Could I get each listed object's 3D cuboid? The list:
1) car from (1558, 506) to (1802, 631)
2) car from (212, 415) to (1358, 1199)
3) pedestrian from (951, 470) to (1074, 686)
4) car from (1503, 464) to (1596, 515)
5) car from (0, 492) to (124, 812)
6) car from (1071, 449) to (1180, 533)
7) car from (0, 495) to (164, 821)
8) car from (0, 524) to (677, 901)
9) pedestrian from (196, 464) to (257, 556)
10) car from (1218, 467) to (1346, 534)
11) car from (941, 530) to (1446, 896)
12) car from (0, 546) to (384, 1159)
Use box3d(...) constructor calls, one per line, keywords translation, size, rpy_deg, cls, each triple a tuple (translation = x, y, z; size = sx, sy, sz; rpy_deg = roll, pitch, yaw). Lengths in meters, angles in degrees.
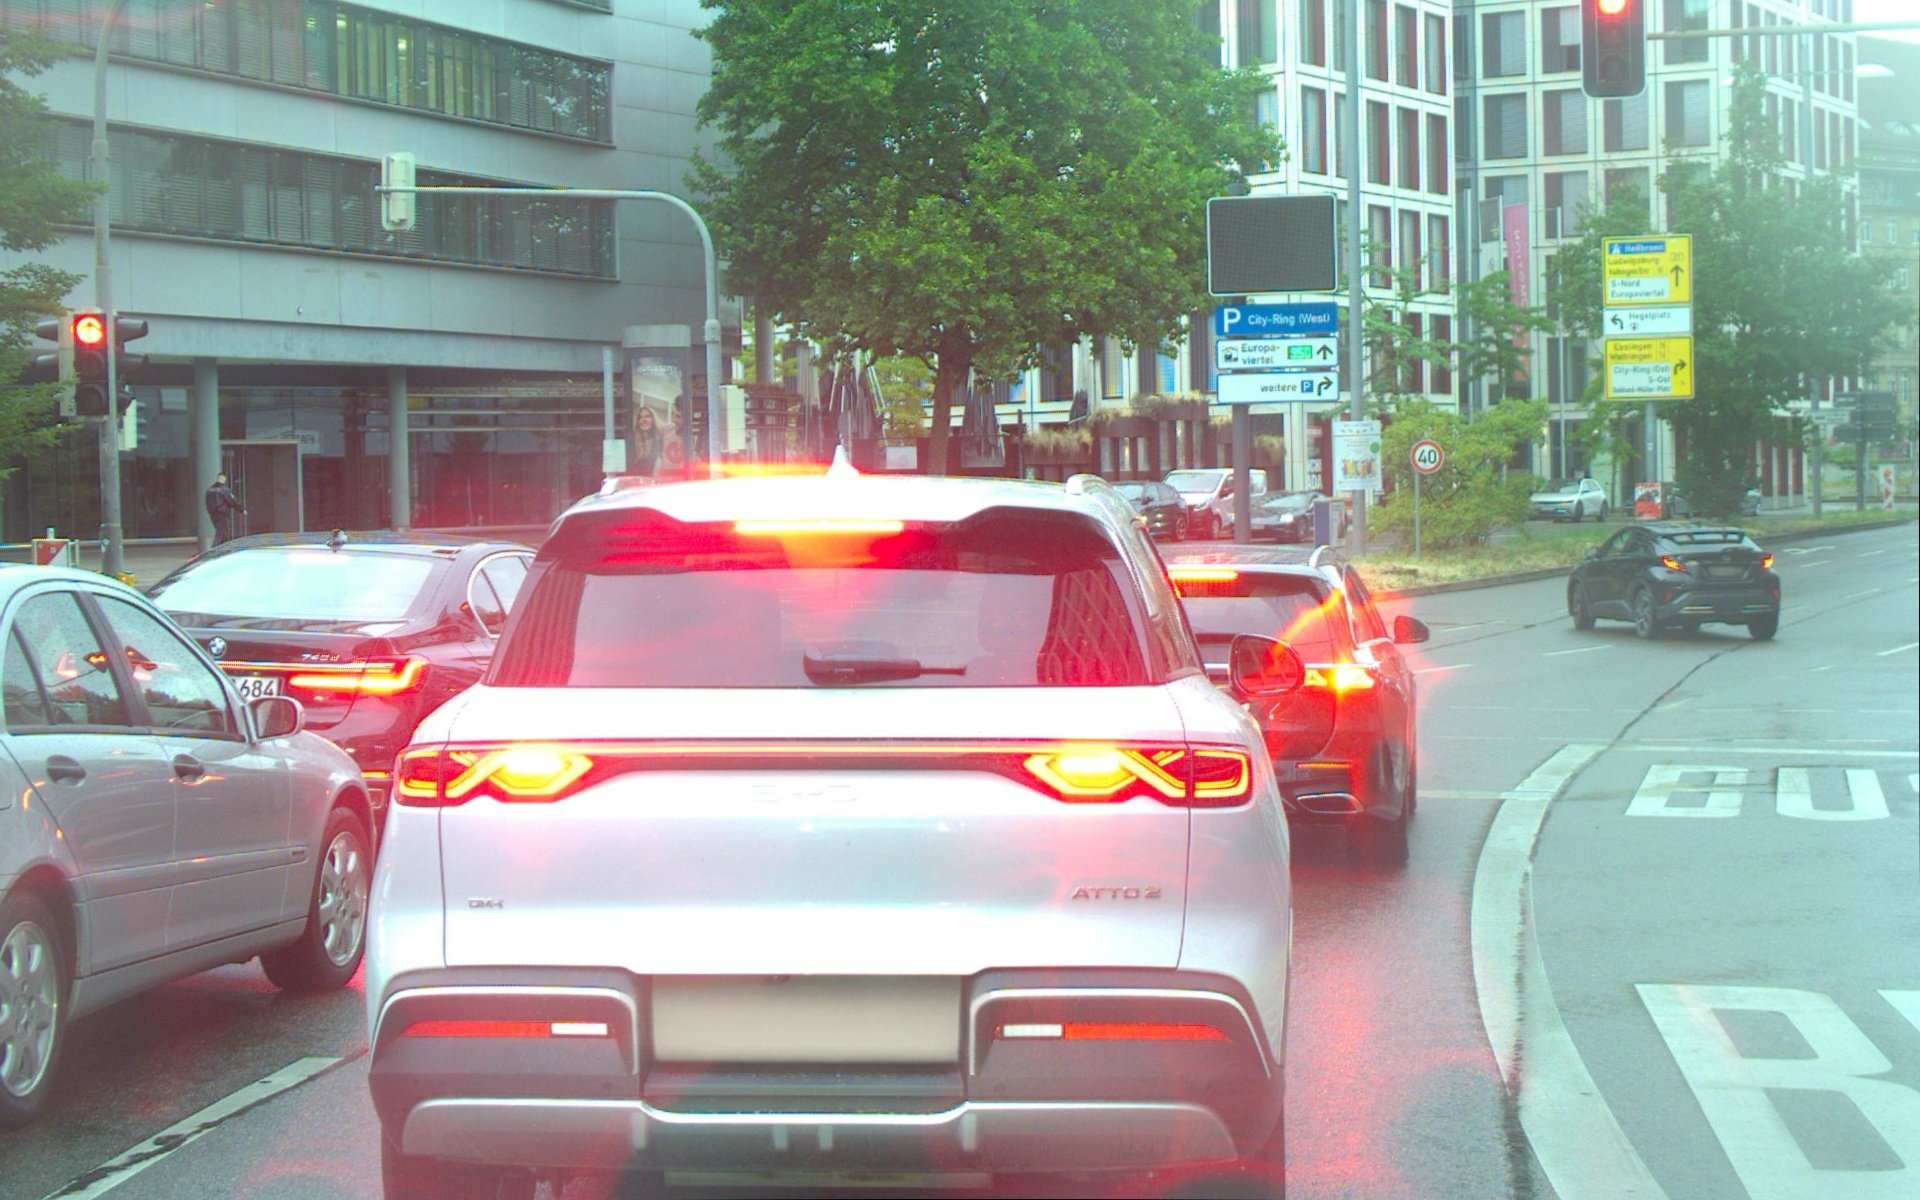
box3d(translation=(9.554, -0.452, 45.942), size=(1.993, 1.546, 4.001), rpy_deg=(1, 2, -7), cls="car")
box3d(translation=(-0.217, 0.481, 8.249), size=(1.994, 1.703, 4.482), rpy_deg=(1, 2, 3), cls="car")
box3d(translation=(0.424, -0.186, 28.003), size=(0.921, 1.732, 0.730), rpy_deg=(0, 1, -5), cls="pedestrian")
box3d(translation=(20.629, -3.880, 120.165), size=(1.996, 1.700, 4.303), rpy_deg=(1, 3, 27), cls="car")
box3d(translation=(-5.778, 0.280, 16.226), size=(1.784, 1.568, 4.285), rpy_deg=(0, 1, 14), cls="car")
box3d(translation=(4.406, -2.858, 91.152), size=(1.739, 2.154, 4.490), rpy_deg=(1, 1, 18), cls="car")
box3d(translation=(-5.637, 0.281, 16.820), size=(1.886, 1.590, 3.998), rpy_deg=(0, 1, 12), cls="car")
box3d(translation=(-2.817, 0.411, 16.171), size=(1.956, 1.525, 3.998), rpy_deg=(0, 1, 11), cls="car")
box3d(translation=(-13.894, -1.696, 65.138), size=(0.728, 1.721, 0.924), rpy_deg=(0, 1, 22), cls="pedestrian")
box3d(translation=(8.748, -2.722, 93.135), size=(1.997, 1.700, 3.994), rpy_deg=(1, 3, 29), cls="car")
box3d(translation=(1.259, 0.432, 16.648), size=(1.956, 1.525, 3.998), rpy_deg=(0, 1, 11), cls="car")
box3d(translation=(-3.070, 0.614, 9.783), size=(1.682, 1.481, 4.195), rpy_deg=(0, 2, 7), cls="car")
